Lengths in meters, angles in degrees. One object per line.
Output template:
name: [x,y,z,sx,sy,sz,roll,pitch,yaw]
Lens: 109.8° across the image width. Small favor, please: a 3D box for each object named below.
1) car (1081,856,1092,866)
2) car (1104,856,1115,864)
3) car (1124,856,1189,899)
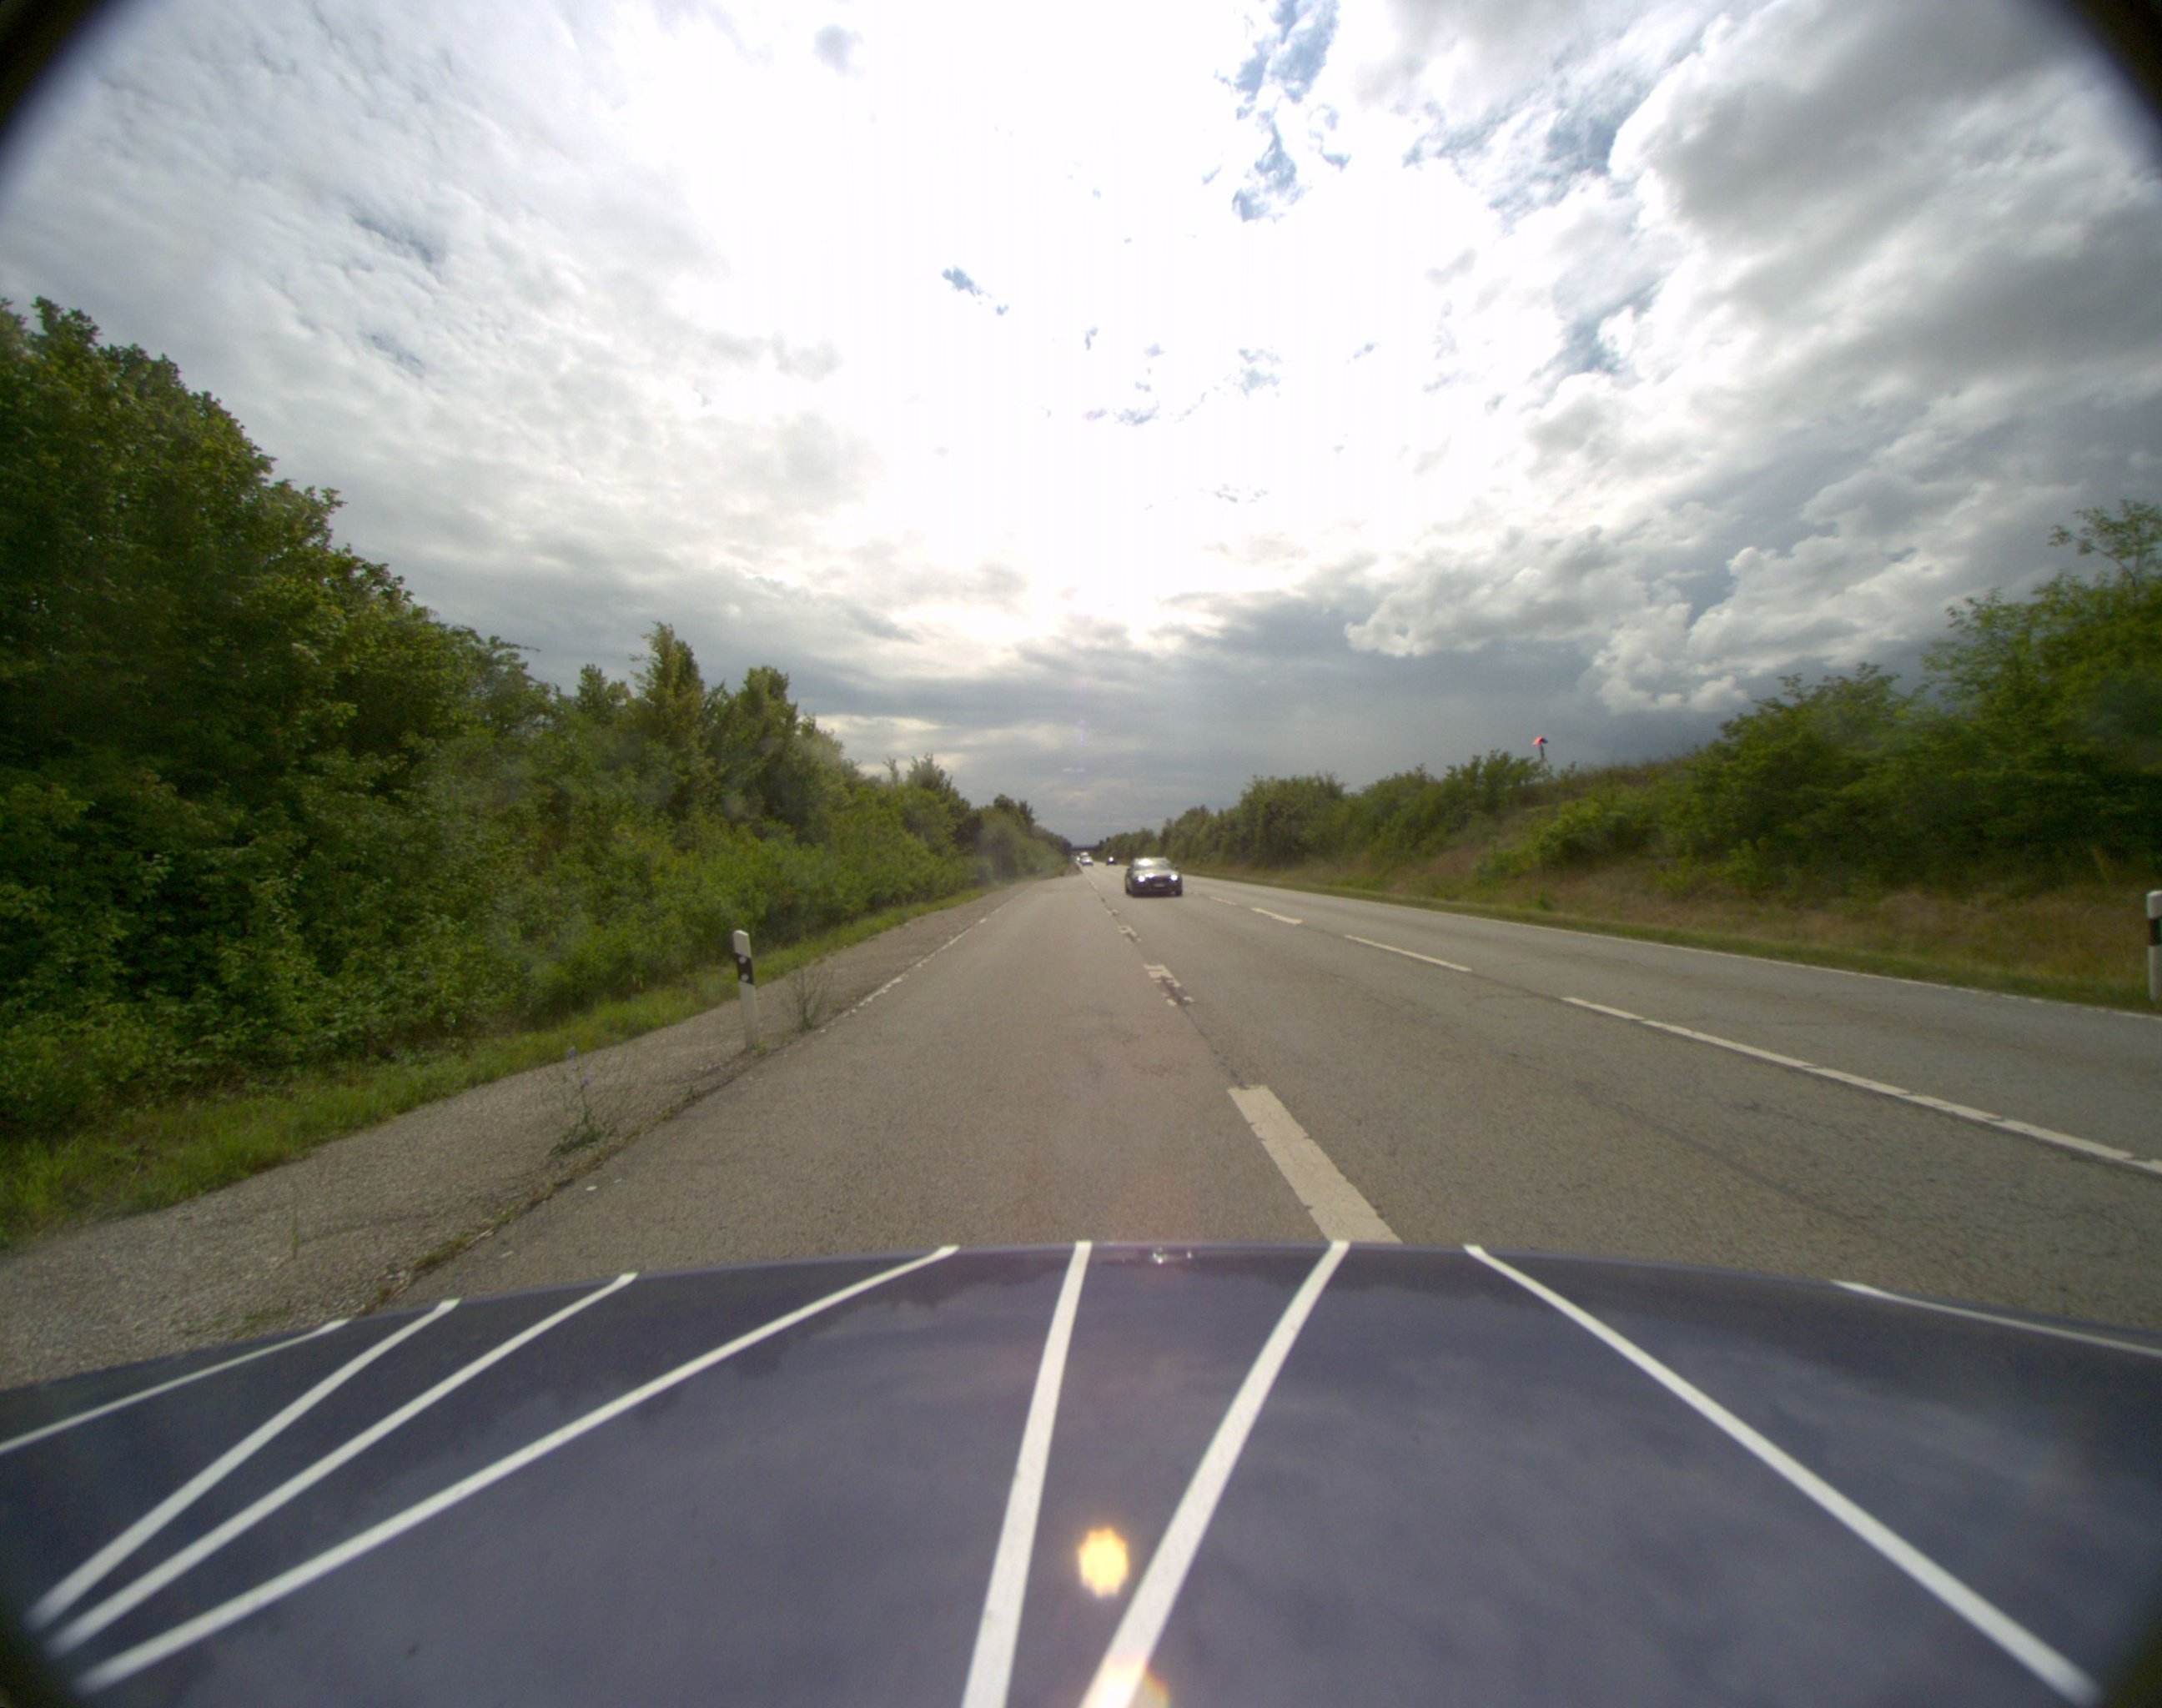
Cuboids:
car: [0.967,1.224,135.899,1.870,1.597,3.999,-2,0,-1]
car: [4.946,0.955,133.095,1.705,1.322,3.999,-1,0,-1]
car: [2.863,0.871,29.924,1.999,1.436,4.640,-3,0,-1]
